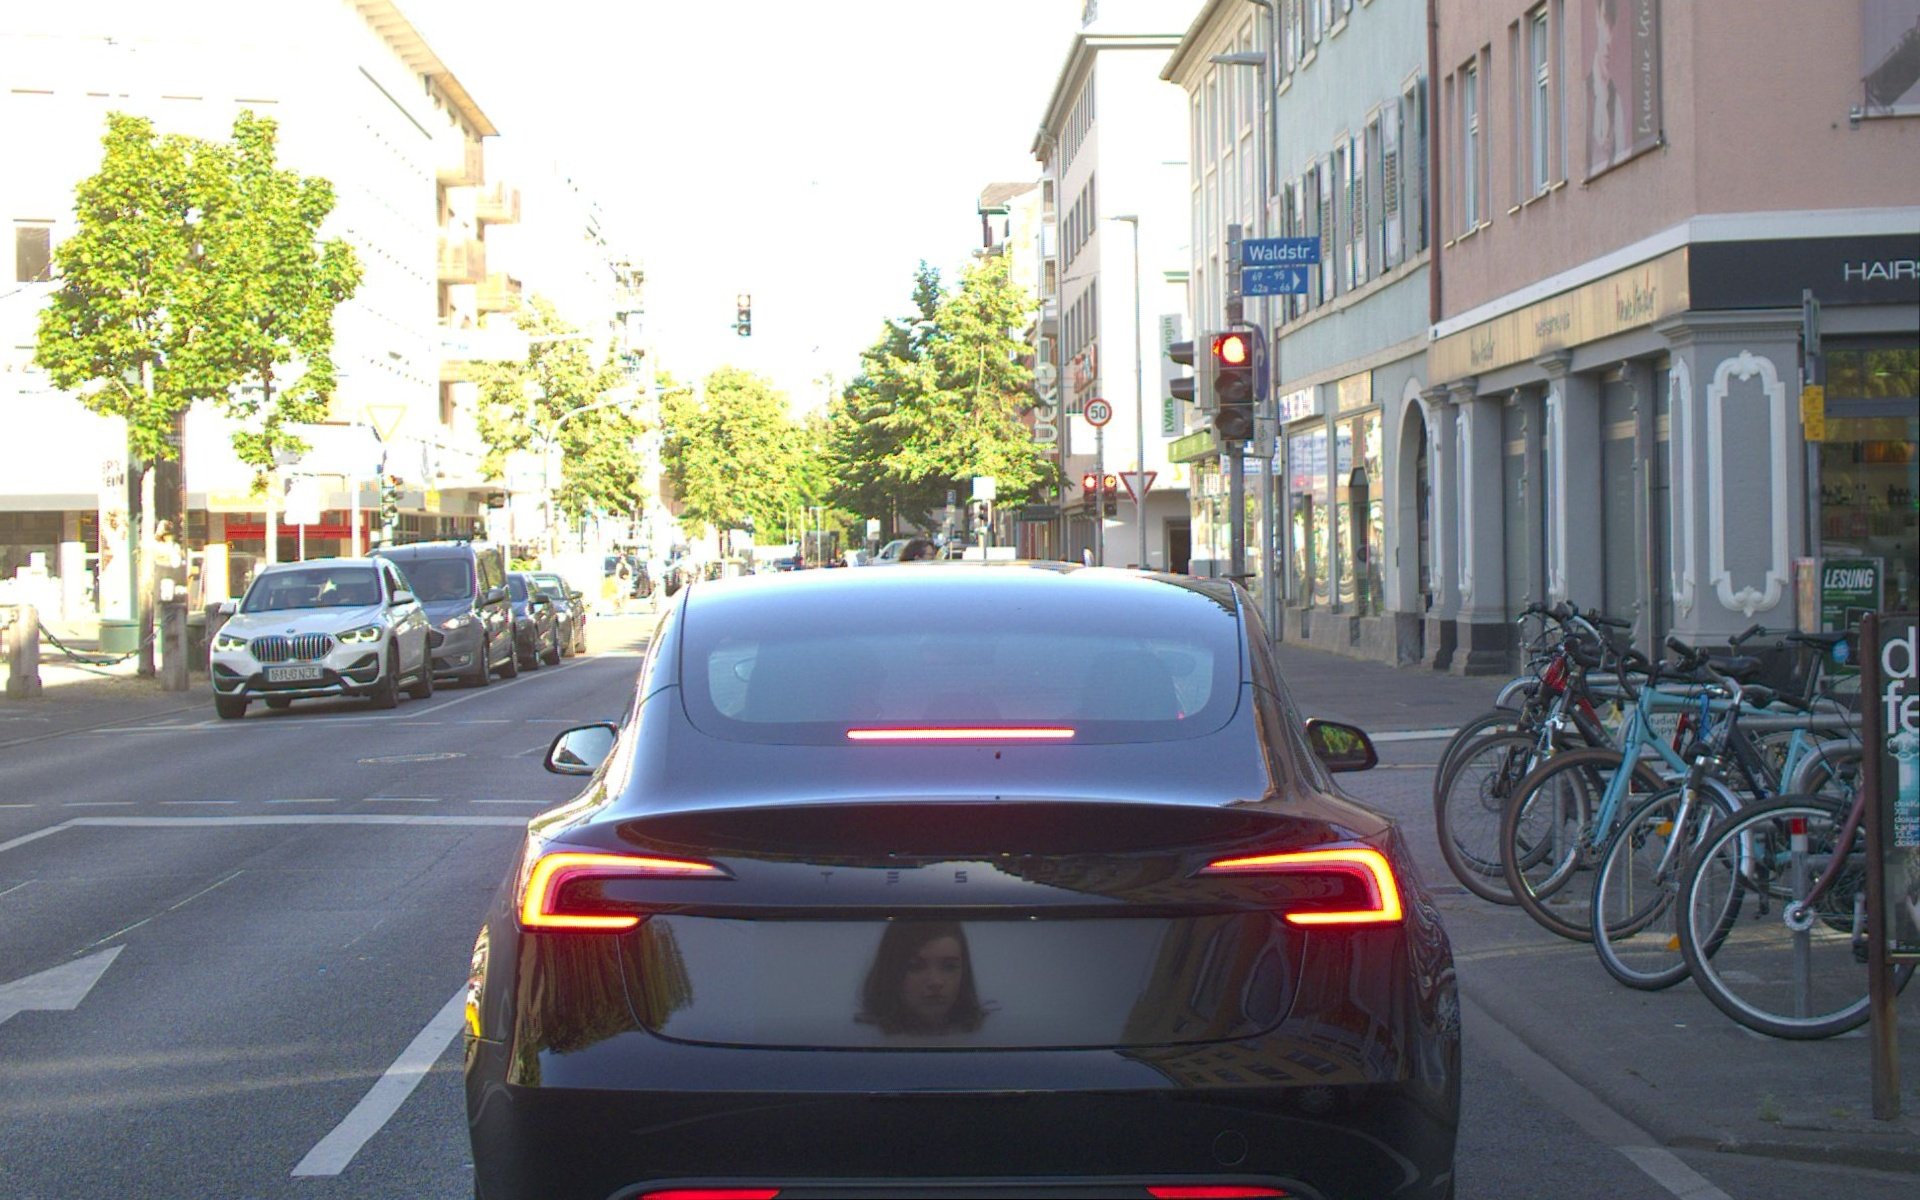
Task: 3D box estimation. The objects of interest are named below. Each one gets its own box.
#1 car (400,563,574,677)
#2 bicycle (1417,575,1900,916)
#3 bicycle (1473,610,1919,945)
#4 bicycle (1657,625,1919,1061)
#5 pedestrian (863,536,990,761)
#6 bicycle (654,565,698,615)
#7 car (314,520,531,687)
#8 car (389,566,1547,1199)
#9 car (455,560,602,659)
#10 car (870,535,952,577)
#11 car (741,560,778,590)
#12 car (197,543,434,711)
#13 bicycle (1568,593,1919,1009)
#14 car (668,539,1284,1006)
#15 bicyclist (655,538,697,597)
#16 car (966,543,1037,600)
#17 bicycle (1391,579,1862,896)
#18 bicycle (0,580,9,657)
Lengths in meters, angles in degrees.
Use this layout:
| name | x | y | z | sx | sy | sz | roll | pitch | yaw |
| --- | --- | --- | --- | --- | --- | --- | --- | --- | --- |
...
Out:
| name | x | y | z | sx | sy | sz | roll | pitch | yaw |
| --- | --- | --- | --- | --- | --- | --- | --- | --- | --- |
| car | -6.740 | 0.243 | 49.432 | 1.993 | 1.405 | 4.675 | -4 | 1 | -3 |
| bicycle | 2.743 | 0.561 | 13.648 | 1.746 | 1.262 | 0.781 | -2 | 1 | 3 |
| bicycle | 2.810 | 0.627 | 12.470 | 1.798 | 1.120 | 0.781 | -2 | 1 | 5 |
| bicycle | 3.035 | 0.674 | 9.986 | 1.886 | 1.189 | 0.691 | -2 | 1 | 5 |
| pedestrian | -0.238 | 0.326 | 23.974 | 0.747 | 1.547 | 0.699 | 0 | 1 | -13 |
| bicycle | -7.884 | -0.291 | 95.530 | 1.111 | 1.340 | 4.001 | 0 | 1 | -3 |
| car | -6.582 | -0.009 | 42.604 | 1.834 | 1.838 | 4.674 | -4 | 1 | 0 |
| car | -0.007 | 0.658 | 7.500 | 1.848 | 1.450 | 4.000 | 0 | 1 | -1 |
| car | -7.104 | 0.125 | 57.023 | 1.993 | 1.431 | 4.675 | -4 | 1 | -3 |
| car | -2.404 | -2.143 | 167.553 | 3.986 | 2.007 | 2.000 | 0 | 1 | -2 |
| car | -10.925 | -1.363 | 187.075 | 1.993 | 1.631 | 4.001 | 0 | 1 | -3 |
| car | -6.744 | 0.235 | 36.359 | 1.807 | 1.550 | 4.310 | -4 | 1 | -3 |
| bicycle | 2.889 | 0.624 | 11.118 | 1.722 | 1.263 | 0.790 | -2 | 1 | 5 |
| car | -0.015 | 0.523 | 13.208 | 1.993 | 1.507 | 4.176 | 0 | 1 | -2 |
| bicyclist | -7.902 | -0.906 | 95.614 | 1.126 | 1.623 | 0.965 | 0 | 1 | -3 |
| car | 1.185 | -0.834 | 100.698 | 1.993 | 1.623 | 4.000 | 0 | 1 | 0 |
| bicycle | 2.813 | 0.573 | 14.678 | 1.862 | 1.253 | 0.832 | -2 | 1 | 5 |
| bicycle | -15.705 | 0.284 | 52.232 | 2.323 | 1.152 | 0.843 | 0 | 1 | -5 |
